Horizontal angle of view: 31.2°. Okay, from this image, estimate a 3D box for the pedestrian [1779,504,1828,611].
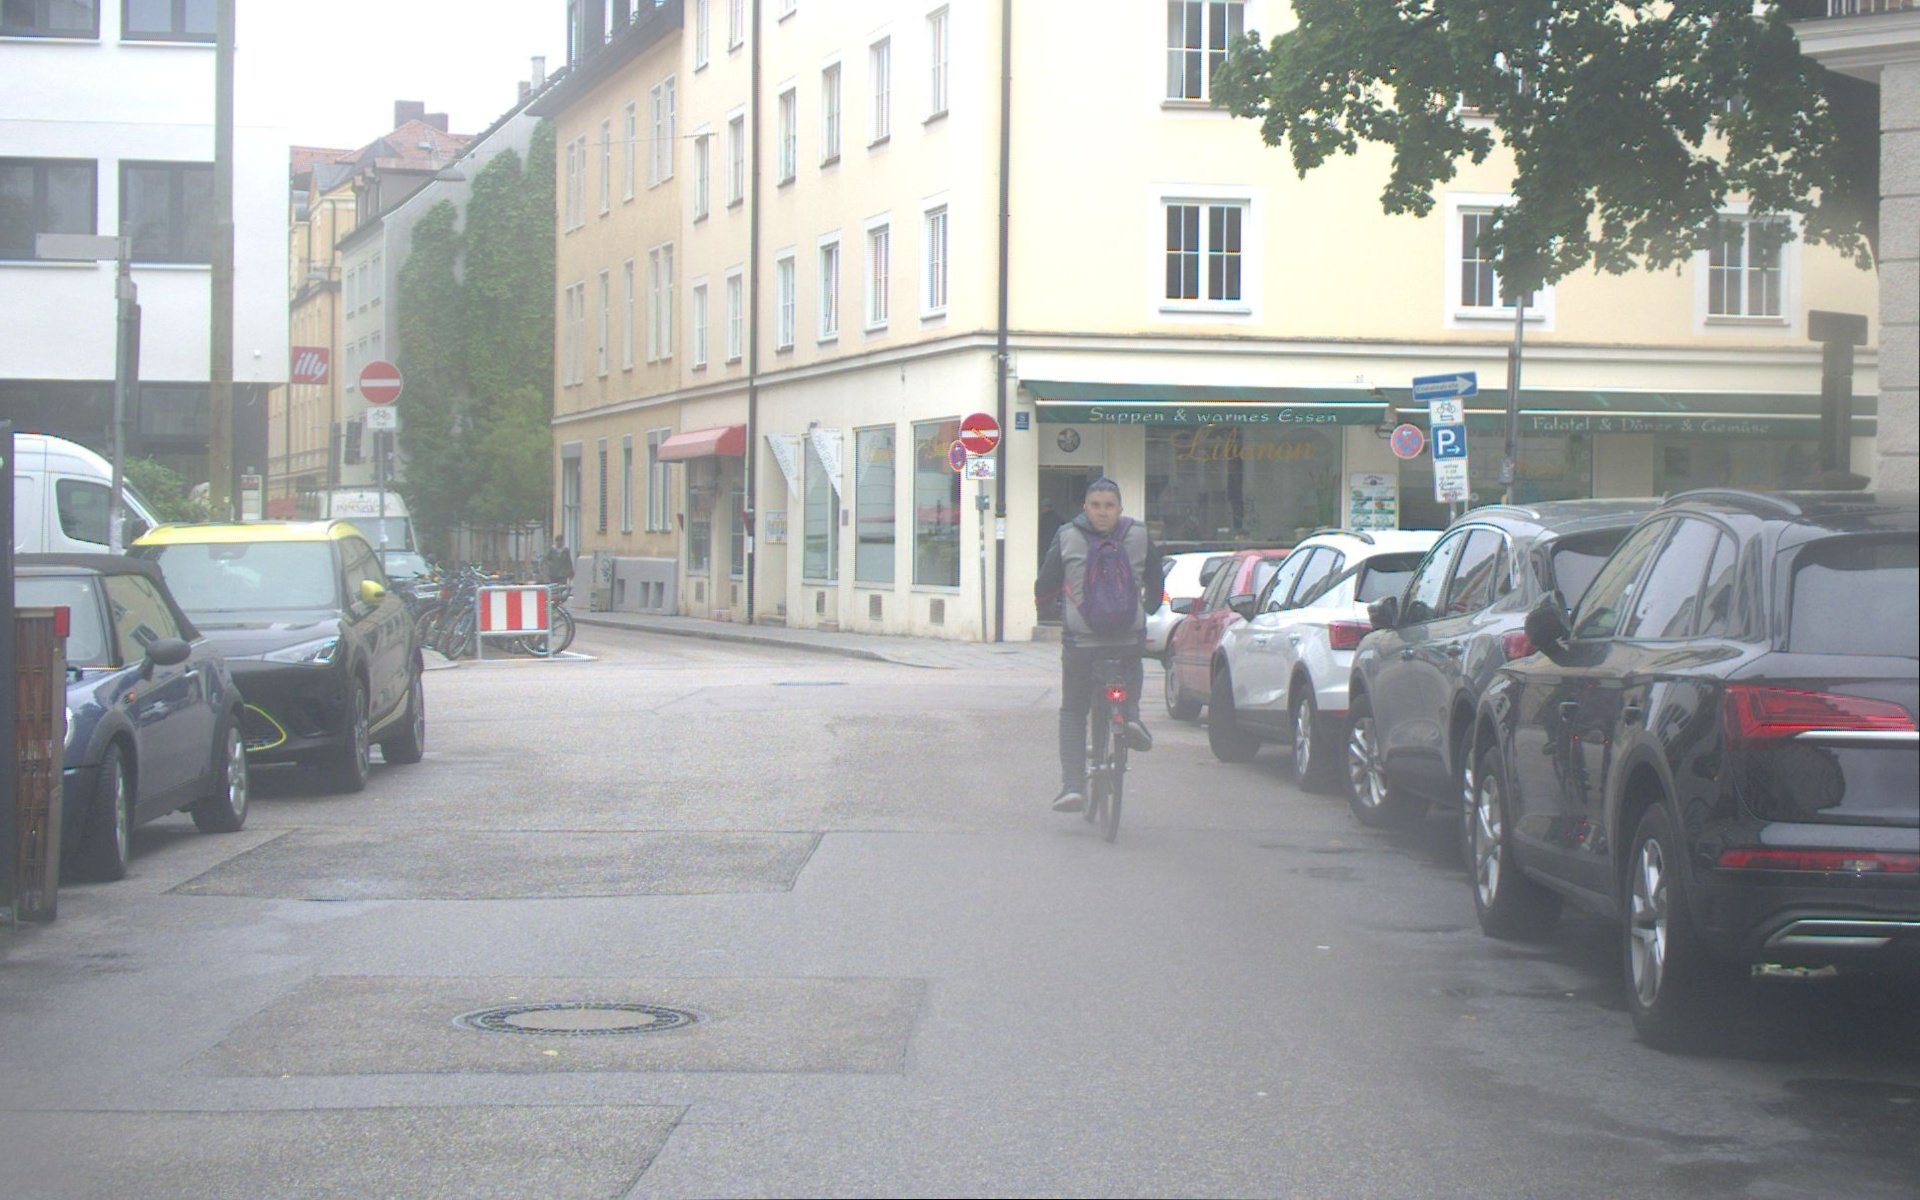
[{"bbox_3d":[12.193,-0.619,49.700,0.433,1.545,0.535,-1,1,-30],"label":"pedestrian"}]

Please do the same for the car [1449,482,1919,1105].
[{"bbox_3d":[2.843,0.470,11.262,1.777,1.630,4.375,1,1,-1],"label":"car"}]

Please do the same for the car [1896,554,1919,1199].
[{"bbox_3d":[2.968,0.694,5.645,1.706,1.466,4.201,0,2,0],"label":"car"}]

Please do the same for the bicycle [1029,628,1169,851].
[{"bbox_3d":[0.671,0.661,16.970,0.639,1.001,1.574,0,1,1],"label":"bicycle"}]

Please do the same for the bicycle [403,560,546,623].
[{"bbox_3d":[-6.800,-0.128,48.151,1.910,0.860,0.619,0,1,-19],"label":"bicycle"}]

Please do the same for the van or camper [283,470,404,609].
[{"bbox_3d":[-11.692,-1.155,65.030,1.993,2.531,4.762,0,1,-13],"label":"van or camper"}]

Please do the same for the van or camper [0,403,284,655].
[{"bbox_3d":[-10.332,-0.746,37.250,5.903,2.668,1.874,0,-1,-11],"label":"van or camper"}]

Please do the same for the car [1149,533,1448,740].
[{"bbox_3d":[2.551,0.220,26.835,1.669,1.430,4.214,1,1,-3],"label":"car"}]

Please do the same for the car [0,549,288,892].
[{"bbox_3d":[-4.445,0.483,16.209,1.707,1.385,4.000,-1,1,0],"label":"car"}]

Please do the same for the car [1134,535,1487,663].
[{"bbox_3d":[4.136,0.002,40.985,3.987,1.411,1.820,1,-2,-1],"label":"car"}]

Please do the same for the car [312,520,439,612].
[{"bbox_3d":[-10.088,-0.614,59.179,1.832,1.530,4.001,0,1,-14],"label":"car"}]

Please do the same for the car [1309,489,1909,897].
[{"bbox_3d":[2.950,0.335,16.626,1.789,1.707,4.427,0,1,-4],"label":"car"}]

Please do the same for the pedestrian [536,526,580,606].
[{"bbox_3d":[-8.910,-0.757,76.176,0.877,1.772,0.774,0,1,-14],"label":"pedestrian"}]

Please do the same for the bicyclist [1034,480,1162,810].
[{"bbox_3d":[0.676,0.208,17.040,0.606,1.601,0.757,0,2,1],"label":"bicyclist"}]

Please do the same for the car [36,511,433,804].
[{"bbox_3d":[-4.366,0.289,21.228,1.676,1.591,3.945,-2,1,-2],"label":"car"}]

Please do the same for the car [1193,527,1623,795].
[{"bbox_3d":[2.665,0.306,21.338,1.750,1.491,3.911,1,1,-6],"label":"car"}]
